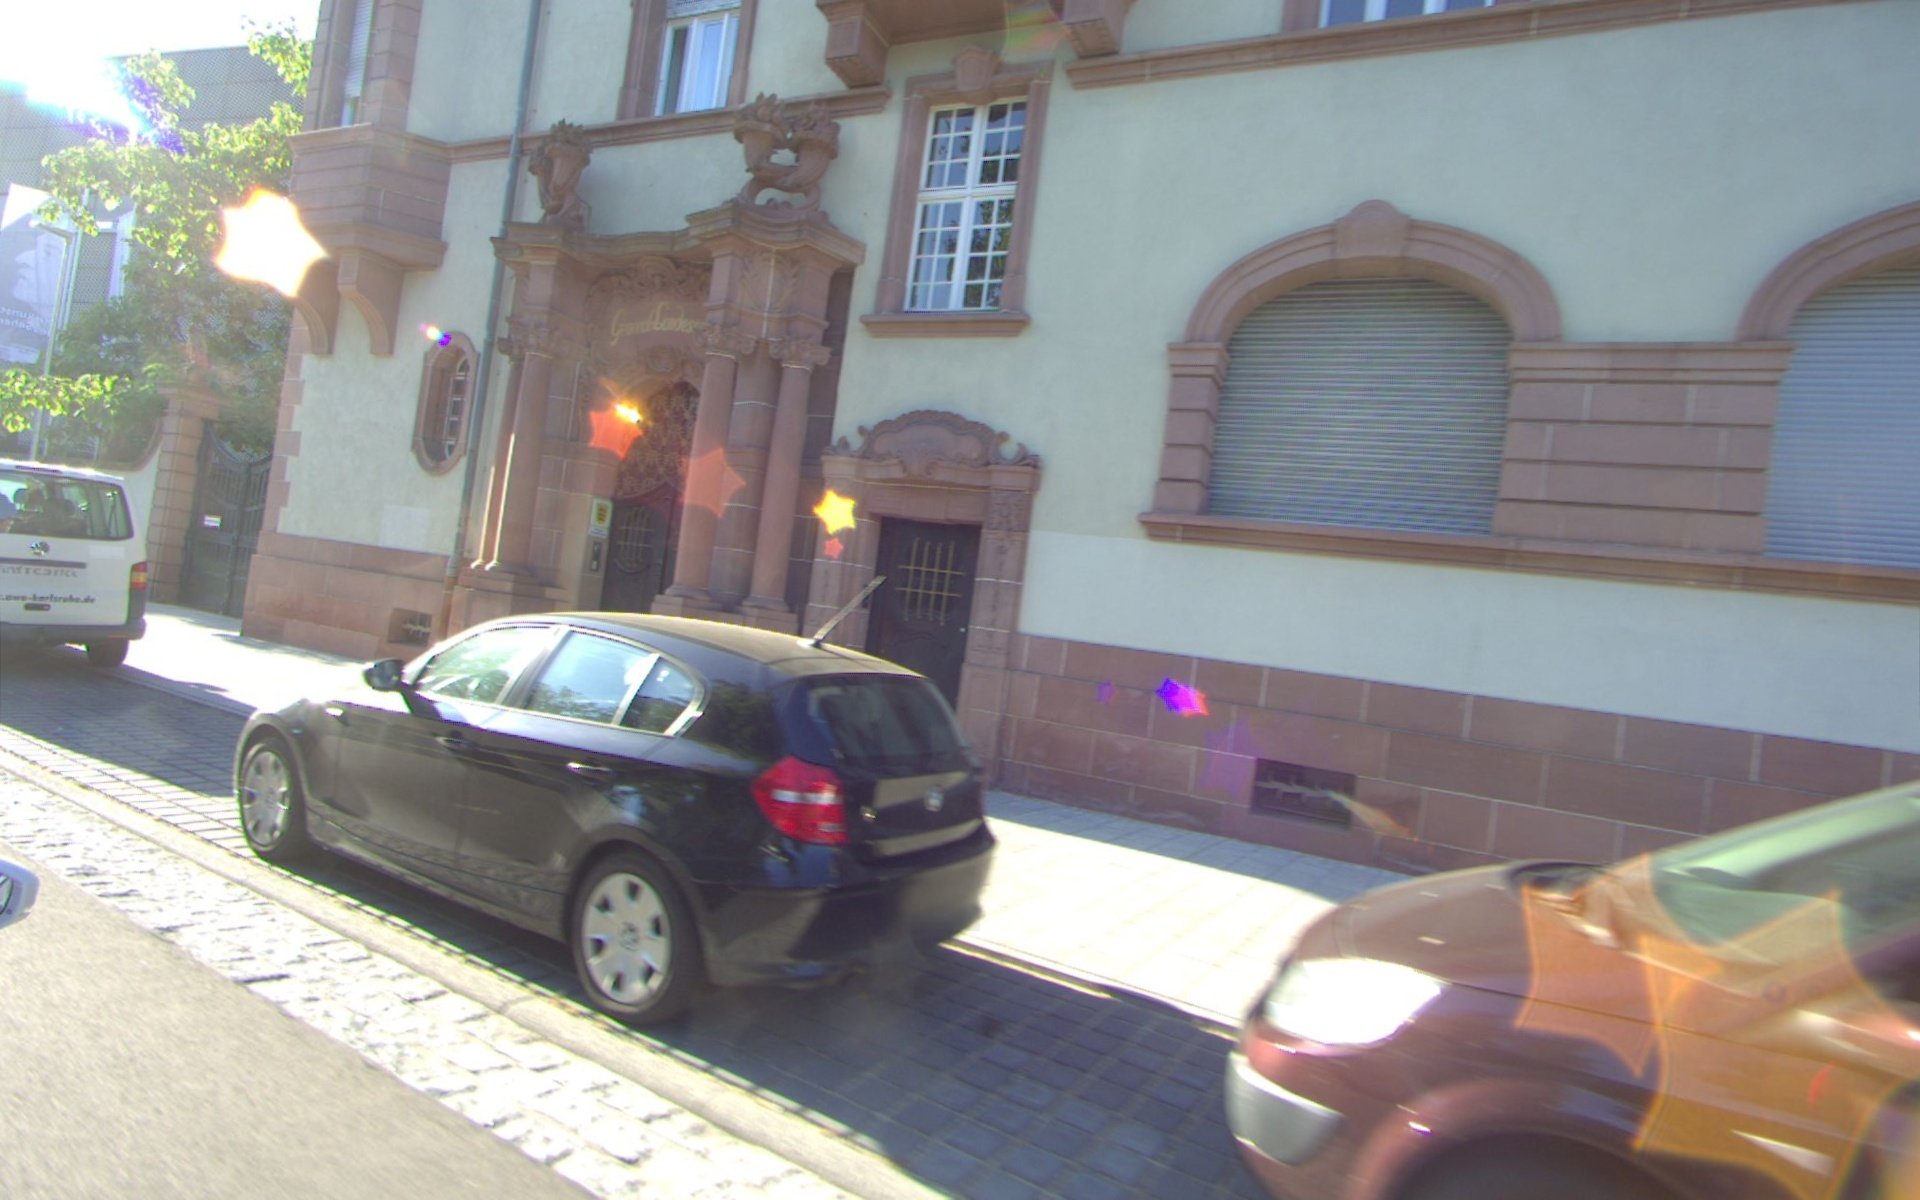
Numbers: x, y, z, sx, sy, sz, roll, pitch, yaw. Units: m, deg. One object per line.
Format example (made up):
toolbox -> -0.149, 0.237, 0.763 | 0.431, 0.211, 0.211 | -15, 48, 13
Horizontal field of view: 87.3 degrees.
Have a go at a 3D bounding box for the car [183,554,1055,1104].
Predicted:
car -> -1.826, 0.735, 4.924 | 4.130, 1.419, 1.682 | 6, -1, 32

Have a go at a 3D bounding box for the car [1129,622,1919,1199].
car -> 2.695, 1.141, 2.214 | 4.121, 1.621, 1.820 | 6, -1, 30

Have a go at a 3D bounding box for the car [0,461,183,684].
car -> -10.409, -0.450, 10.525 | 4.769, 1.991, 1.995 | 7, 1, 32
